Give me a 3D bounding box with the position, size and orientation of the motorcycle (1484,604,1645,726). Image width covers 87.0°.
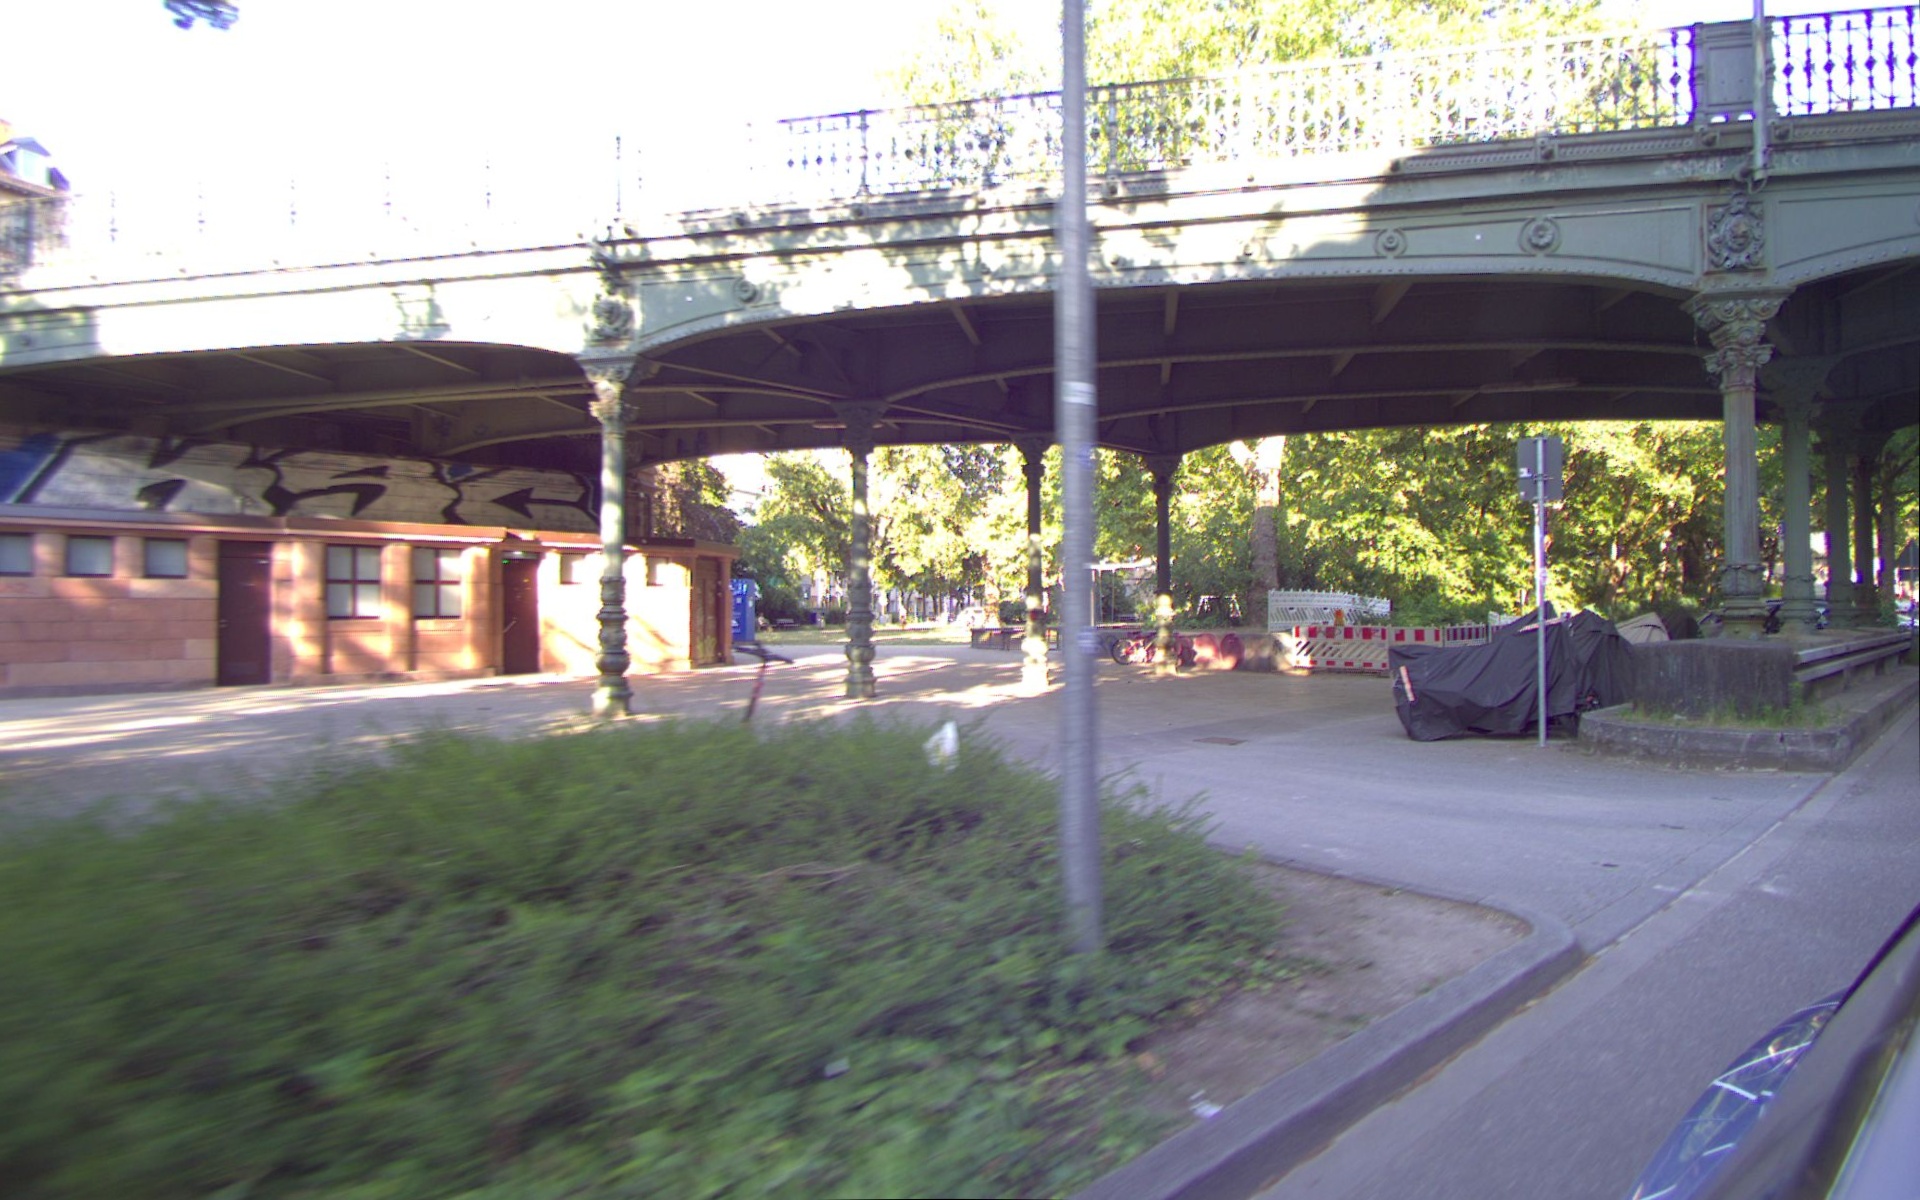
[{"bbox_3d":[7.678,0.791,12.942,0.698,1.426,1.608,-2,-1,-23],"label":"motorcycle"}]

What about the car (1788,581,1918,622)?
[{"bbox_3d":[38.427,0.097,43.620,1.637,1.594,3.992,-2,0,-41],"label":"car"}]

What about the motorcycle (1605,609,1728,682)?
[{"bbox_3d":[11.823,0.763,16.995,1.591,1.147,0.705,-3,-1,30],"label":"motorcycle"}]

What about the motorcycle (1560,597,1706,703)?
[{"bbox_3d":[9.805,0.704,14.814,0.698,1.426,1.608,-2,-1,-23],"label":"motorcycle"}]

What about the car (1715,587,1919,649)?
[{"bbox_3d":[24.764,0.493,29.102,1.704,1.626,4.595,-2,1,-40],"label":"car"}]

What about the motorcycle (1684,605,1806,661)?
[{"bbox_3d":[15.802,0.653,20.412,1.699,1.043,0.809,-2,-1,13],"label":"motorcycle"}]

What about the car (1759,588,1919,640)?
[{"bbox_3d":[28.584,0.463,32.520,1.846,1.552,4.375,-2,0,-45],"label":"car"}]

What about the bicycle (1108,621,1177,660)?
[{"bbox_3d":[4.450,0.973,24.689,1.592,0.869,0.521,1,0,16],"label":"bicycle"}]

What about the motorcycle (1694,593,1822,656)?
[{"bbox_3d":[16.975,0.517,21.591,1.913,1.253,0.898,-3,-1,22],"label":"motorcycle"}]

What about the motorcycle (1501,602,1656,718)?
[{"bbox_3d":[8.253,0.768,13.579,0.698,1.426,1.608,-2,-1,-23],"label":"motorcycle"}]

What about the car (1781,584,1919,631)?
[{"bbox_3d":[33.343,0.300,37.781,1.562,1.594,4.021,-2,-1,-45],"label":"car"}]

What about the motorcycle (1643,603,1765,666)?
[{"bbox_3d":[14.334,0.661,19.540,1.699,1.147,0.710,-2,-1,13],"label":"motorcycle"}]

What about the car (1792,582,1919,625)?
[{"bbox_3d":[37.015,0.153,41.730,1.562,1.594,3.987,-2,-1,-45],"label":"car"}]

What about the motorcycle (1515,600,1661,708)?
[{"bbox_3d":[8.921,0.741,14.451,0.698,1.426,1.608,-2,-1,-23],"label":"motorcycle"}]

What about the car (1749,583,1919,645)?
[{"bbox_3d":[26.855,0.427,30.751,4.371,1.730,1.878,-3,0,43],"label":"car"}]

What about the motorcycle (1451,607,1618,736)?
[{"bbox_3d":[6.926,0.821,12.290,0.698,1.426,1.608,-2,-1,-23],"label":"motorcycle"}]

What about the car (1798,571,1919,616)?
[{"bbox_3d":[41.903,-0.336,46.798,1.842,1.948,4.674,-2,3,-45],"label":"car"}]

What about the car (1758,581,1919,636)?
[{"bbox_3d":[30.218,0.315,34.459,1.877,1.717,4.533,-2,-1,-45],"label":"car"}]

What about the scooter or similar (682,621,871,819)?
[{"bbox_3d":[-1.361,0.849,7.645,1.303,1.314,0.478,-2,-1,-41],"label":"scooter or similar"}]

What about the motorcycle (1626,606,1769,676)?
[{"bbox_3d":[12.865,0.720,17.726,1.816,1.147,0.844,-3,-1,24],"label":"motorcycle"}]

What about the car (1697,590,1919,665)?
[{"bbox_3d":[20.160,0.649,23.761,1.648,1.597,4.375,-2,-1,-45],"label":"car"}]
